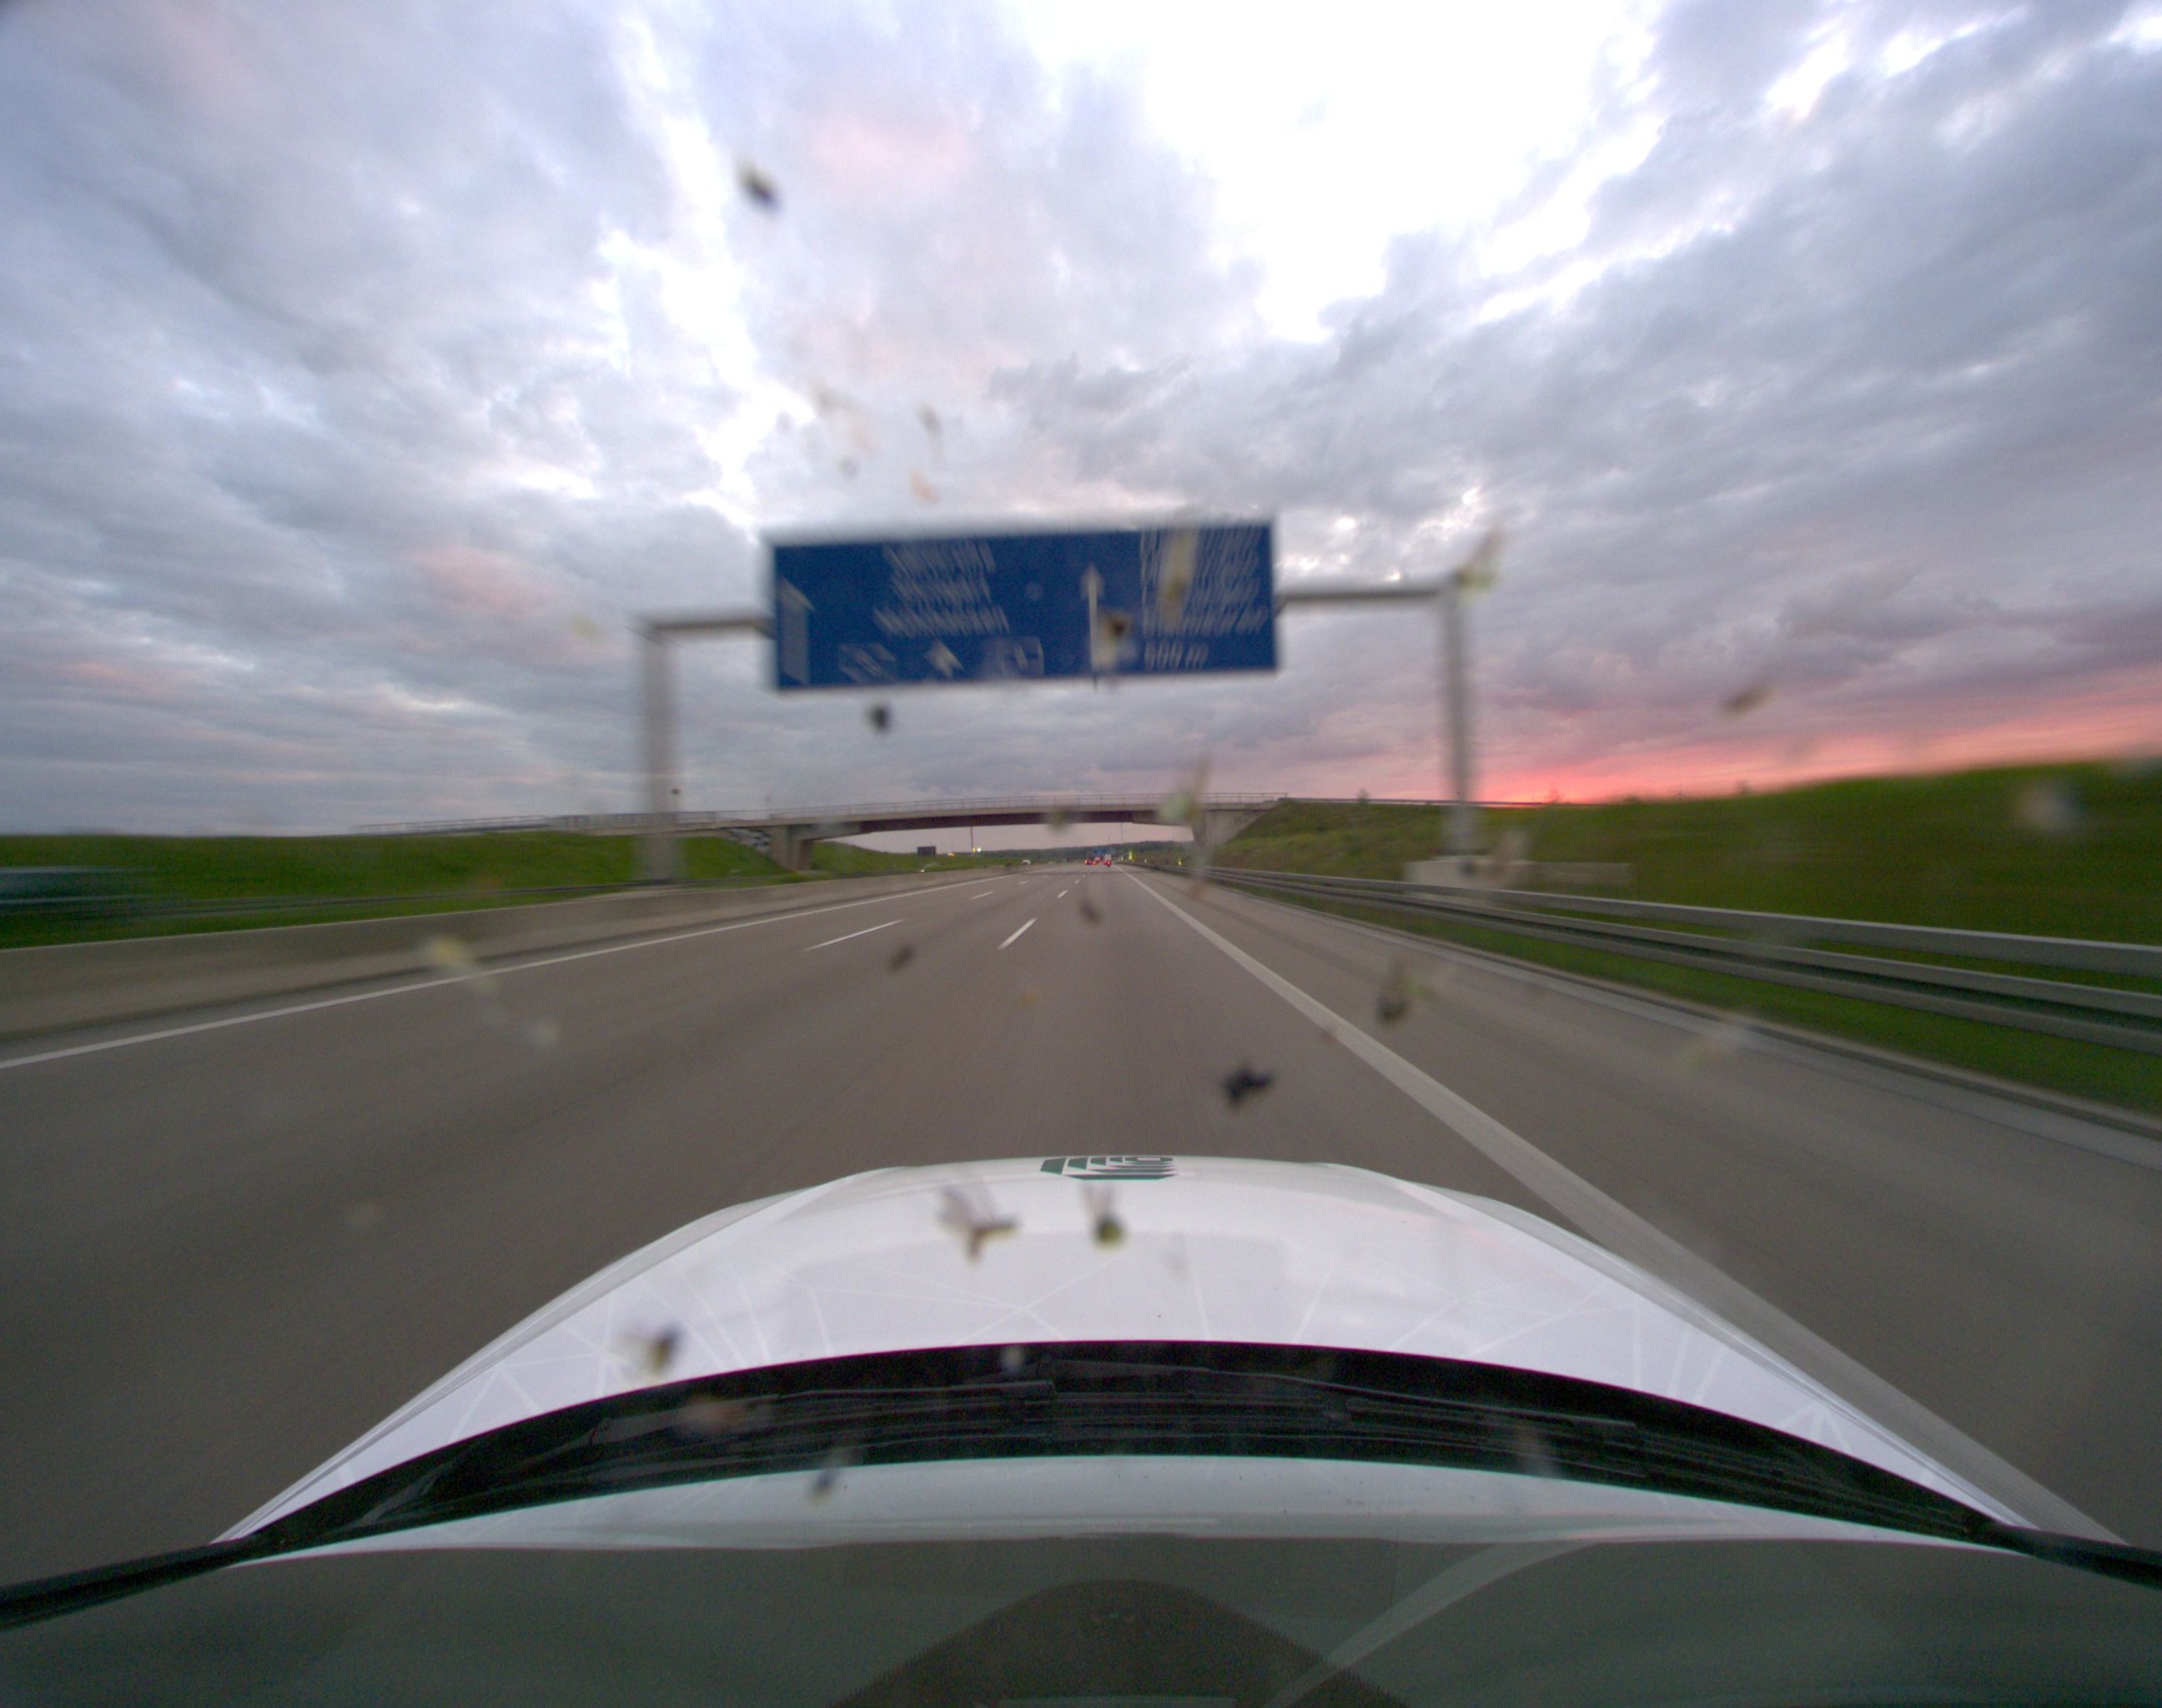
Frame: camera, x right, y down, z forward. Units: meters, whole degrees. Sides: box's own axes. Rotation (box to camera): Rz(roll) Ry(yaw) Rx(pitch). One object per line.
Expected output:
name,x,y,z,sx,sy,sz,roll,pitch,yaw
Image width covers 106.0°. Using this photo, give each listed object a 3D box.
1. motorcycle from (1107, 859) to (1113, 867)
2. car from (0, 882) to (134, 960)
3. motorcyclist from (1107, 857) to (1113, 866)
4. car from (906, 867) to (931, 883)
motorcycle,5.046,1.575,141.354,0.898,1.346,2.349,-2,0,2
car,-22.110,1.361,16.183,1.807,1.459,4.001,0,0,2
motorcyclist,5.042,1.355,141.321,0.862,1.488,1.169,0,-1,3
car,-17.673,2.268,88.777,1.748,1.552,4.361,0,0,1
